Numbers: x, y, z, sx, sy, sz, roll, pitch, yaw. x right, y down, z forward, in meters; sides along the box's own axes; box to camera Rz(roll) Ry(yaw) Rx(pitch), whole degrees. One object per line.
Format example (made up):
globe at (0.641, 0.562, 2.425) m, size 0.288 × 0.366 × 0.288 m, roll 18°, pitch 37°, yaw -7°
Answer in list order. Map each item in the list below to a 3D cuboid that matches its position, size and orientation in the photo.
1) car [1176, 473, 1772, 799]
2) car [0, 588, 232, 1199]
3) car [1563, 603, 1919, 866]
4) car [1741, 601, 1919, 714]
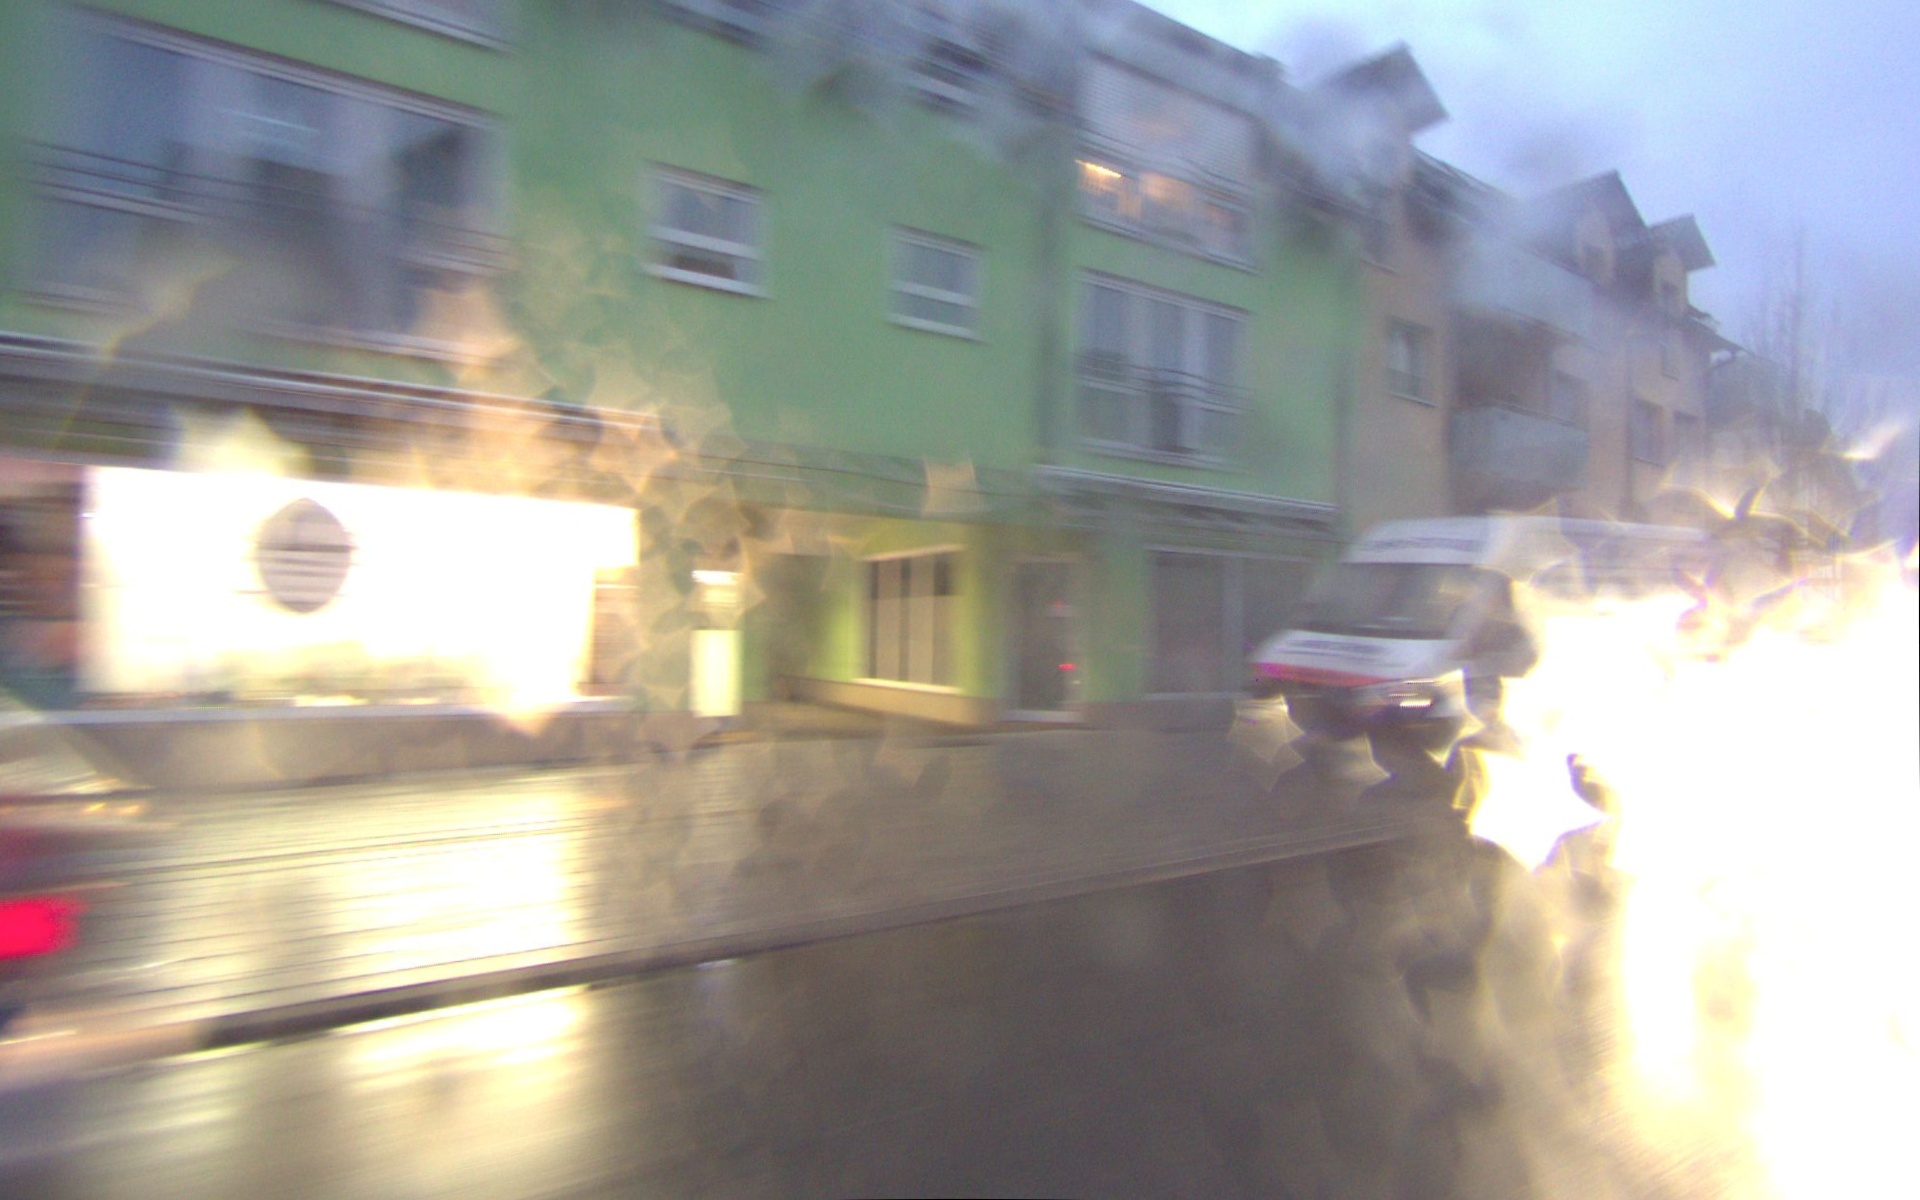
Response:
car at (5.695, 0.376, 10.758) m, size 6.682 × 2.594 × 2.473 m, roll 2°, pitch -1°, yaw -30°
car at (-3.896, 0.807, 1.626) m, size 4.209 × 1.576 × 1.983 m, roll -1°, pitch -1°, yaw -32°
car at (6.874, 0.912, 8.066) m, size 4.184 × 1.585 × 1.906 m, roll 2°, pitch -4°, yaw -35°
car at (16.862, 1.002, 18.899) m, size 5.250 × 1.868 × 1.980 m, roll 1°, pitch 0°, yaw -35°
